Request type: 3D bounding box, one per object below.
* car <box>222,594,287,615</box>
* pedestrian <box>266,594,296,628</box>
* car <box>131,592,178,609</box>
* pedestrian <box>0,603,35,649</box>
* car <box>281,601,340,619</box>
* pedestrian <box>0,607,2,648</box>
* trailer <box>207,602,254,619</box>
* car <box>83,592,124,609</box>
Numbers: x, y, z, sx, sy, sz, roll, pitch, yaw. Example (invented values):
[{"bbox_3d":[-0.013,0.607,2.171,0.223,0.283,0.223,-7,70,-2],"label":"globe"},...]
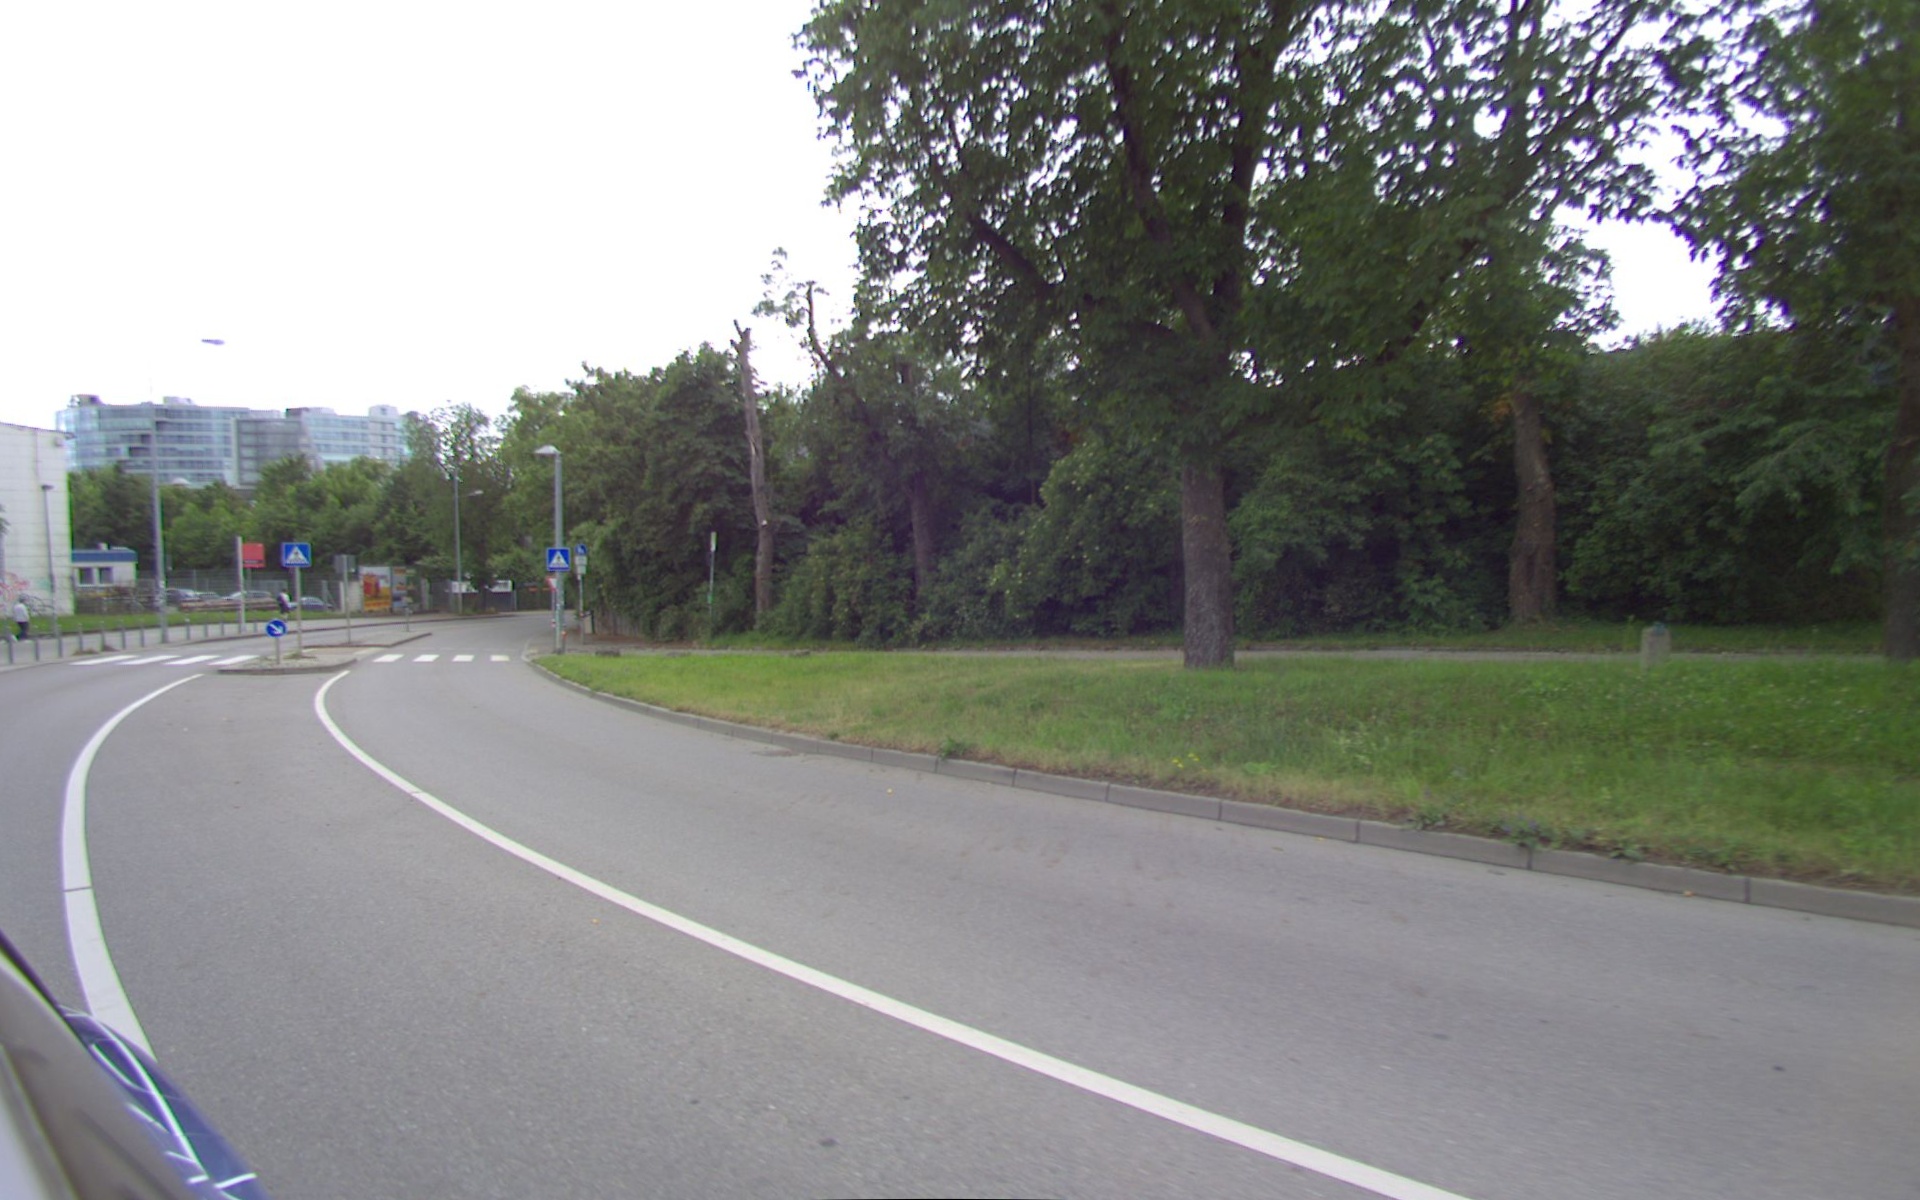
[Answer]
[{"bbox_3d":[-54.348,0.350,78.046,1.559,1.543,3.772,2,0,30],"label":"car"},{"bbox_3d":[-34.814,0.547,51.904,0.843,1.696,0.935,1,3,16],"label":"pedestrian"},{"bbox_3d":[-64.333,0.045,80.834,3.663,1.341,1.517,0,0,26],"label":"car"},{"bbox_3d":[-36.285,0.997,38.916,0.811,1.715,0.744,0,2,20],"label":"pedestrian"},{"bbox_3d":[-47.756,0.734,74.440,1.466,1.261,3.336,1,-1,30],"label":"car"},{"bbox_3d":[-37.475,1.074,38.800,0.796,1.595,0.796,0,2,20],"label":"pedestrian"},{"bbox_3d":[-50.446,0.704,69.977,2.633,1.146,1.828,0,1,35],"label":"trailer"},{"bbox_3d":[-65.746,0.040,77.695,3.297,1.341,1.324,0,0,29],"label":"car"}]
